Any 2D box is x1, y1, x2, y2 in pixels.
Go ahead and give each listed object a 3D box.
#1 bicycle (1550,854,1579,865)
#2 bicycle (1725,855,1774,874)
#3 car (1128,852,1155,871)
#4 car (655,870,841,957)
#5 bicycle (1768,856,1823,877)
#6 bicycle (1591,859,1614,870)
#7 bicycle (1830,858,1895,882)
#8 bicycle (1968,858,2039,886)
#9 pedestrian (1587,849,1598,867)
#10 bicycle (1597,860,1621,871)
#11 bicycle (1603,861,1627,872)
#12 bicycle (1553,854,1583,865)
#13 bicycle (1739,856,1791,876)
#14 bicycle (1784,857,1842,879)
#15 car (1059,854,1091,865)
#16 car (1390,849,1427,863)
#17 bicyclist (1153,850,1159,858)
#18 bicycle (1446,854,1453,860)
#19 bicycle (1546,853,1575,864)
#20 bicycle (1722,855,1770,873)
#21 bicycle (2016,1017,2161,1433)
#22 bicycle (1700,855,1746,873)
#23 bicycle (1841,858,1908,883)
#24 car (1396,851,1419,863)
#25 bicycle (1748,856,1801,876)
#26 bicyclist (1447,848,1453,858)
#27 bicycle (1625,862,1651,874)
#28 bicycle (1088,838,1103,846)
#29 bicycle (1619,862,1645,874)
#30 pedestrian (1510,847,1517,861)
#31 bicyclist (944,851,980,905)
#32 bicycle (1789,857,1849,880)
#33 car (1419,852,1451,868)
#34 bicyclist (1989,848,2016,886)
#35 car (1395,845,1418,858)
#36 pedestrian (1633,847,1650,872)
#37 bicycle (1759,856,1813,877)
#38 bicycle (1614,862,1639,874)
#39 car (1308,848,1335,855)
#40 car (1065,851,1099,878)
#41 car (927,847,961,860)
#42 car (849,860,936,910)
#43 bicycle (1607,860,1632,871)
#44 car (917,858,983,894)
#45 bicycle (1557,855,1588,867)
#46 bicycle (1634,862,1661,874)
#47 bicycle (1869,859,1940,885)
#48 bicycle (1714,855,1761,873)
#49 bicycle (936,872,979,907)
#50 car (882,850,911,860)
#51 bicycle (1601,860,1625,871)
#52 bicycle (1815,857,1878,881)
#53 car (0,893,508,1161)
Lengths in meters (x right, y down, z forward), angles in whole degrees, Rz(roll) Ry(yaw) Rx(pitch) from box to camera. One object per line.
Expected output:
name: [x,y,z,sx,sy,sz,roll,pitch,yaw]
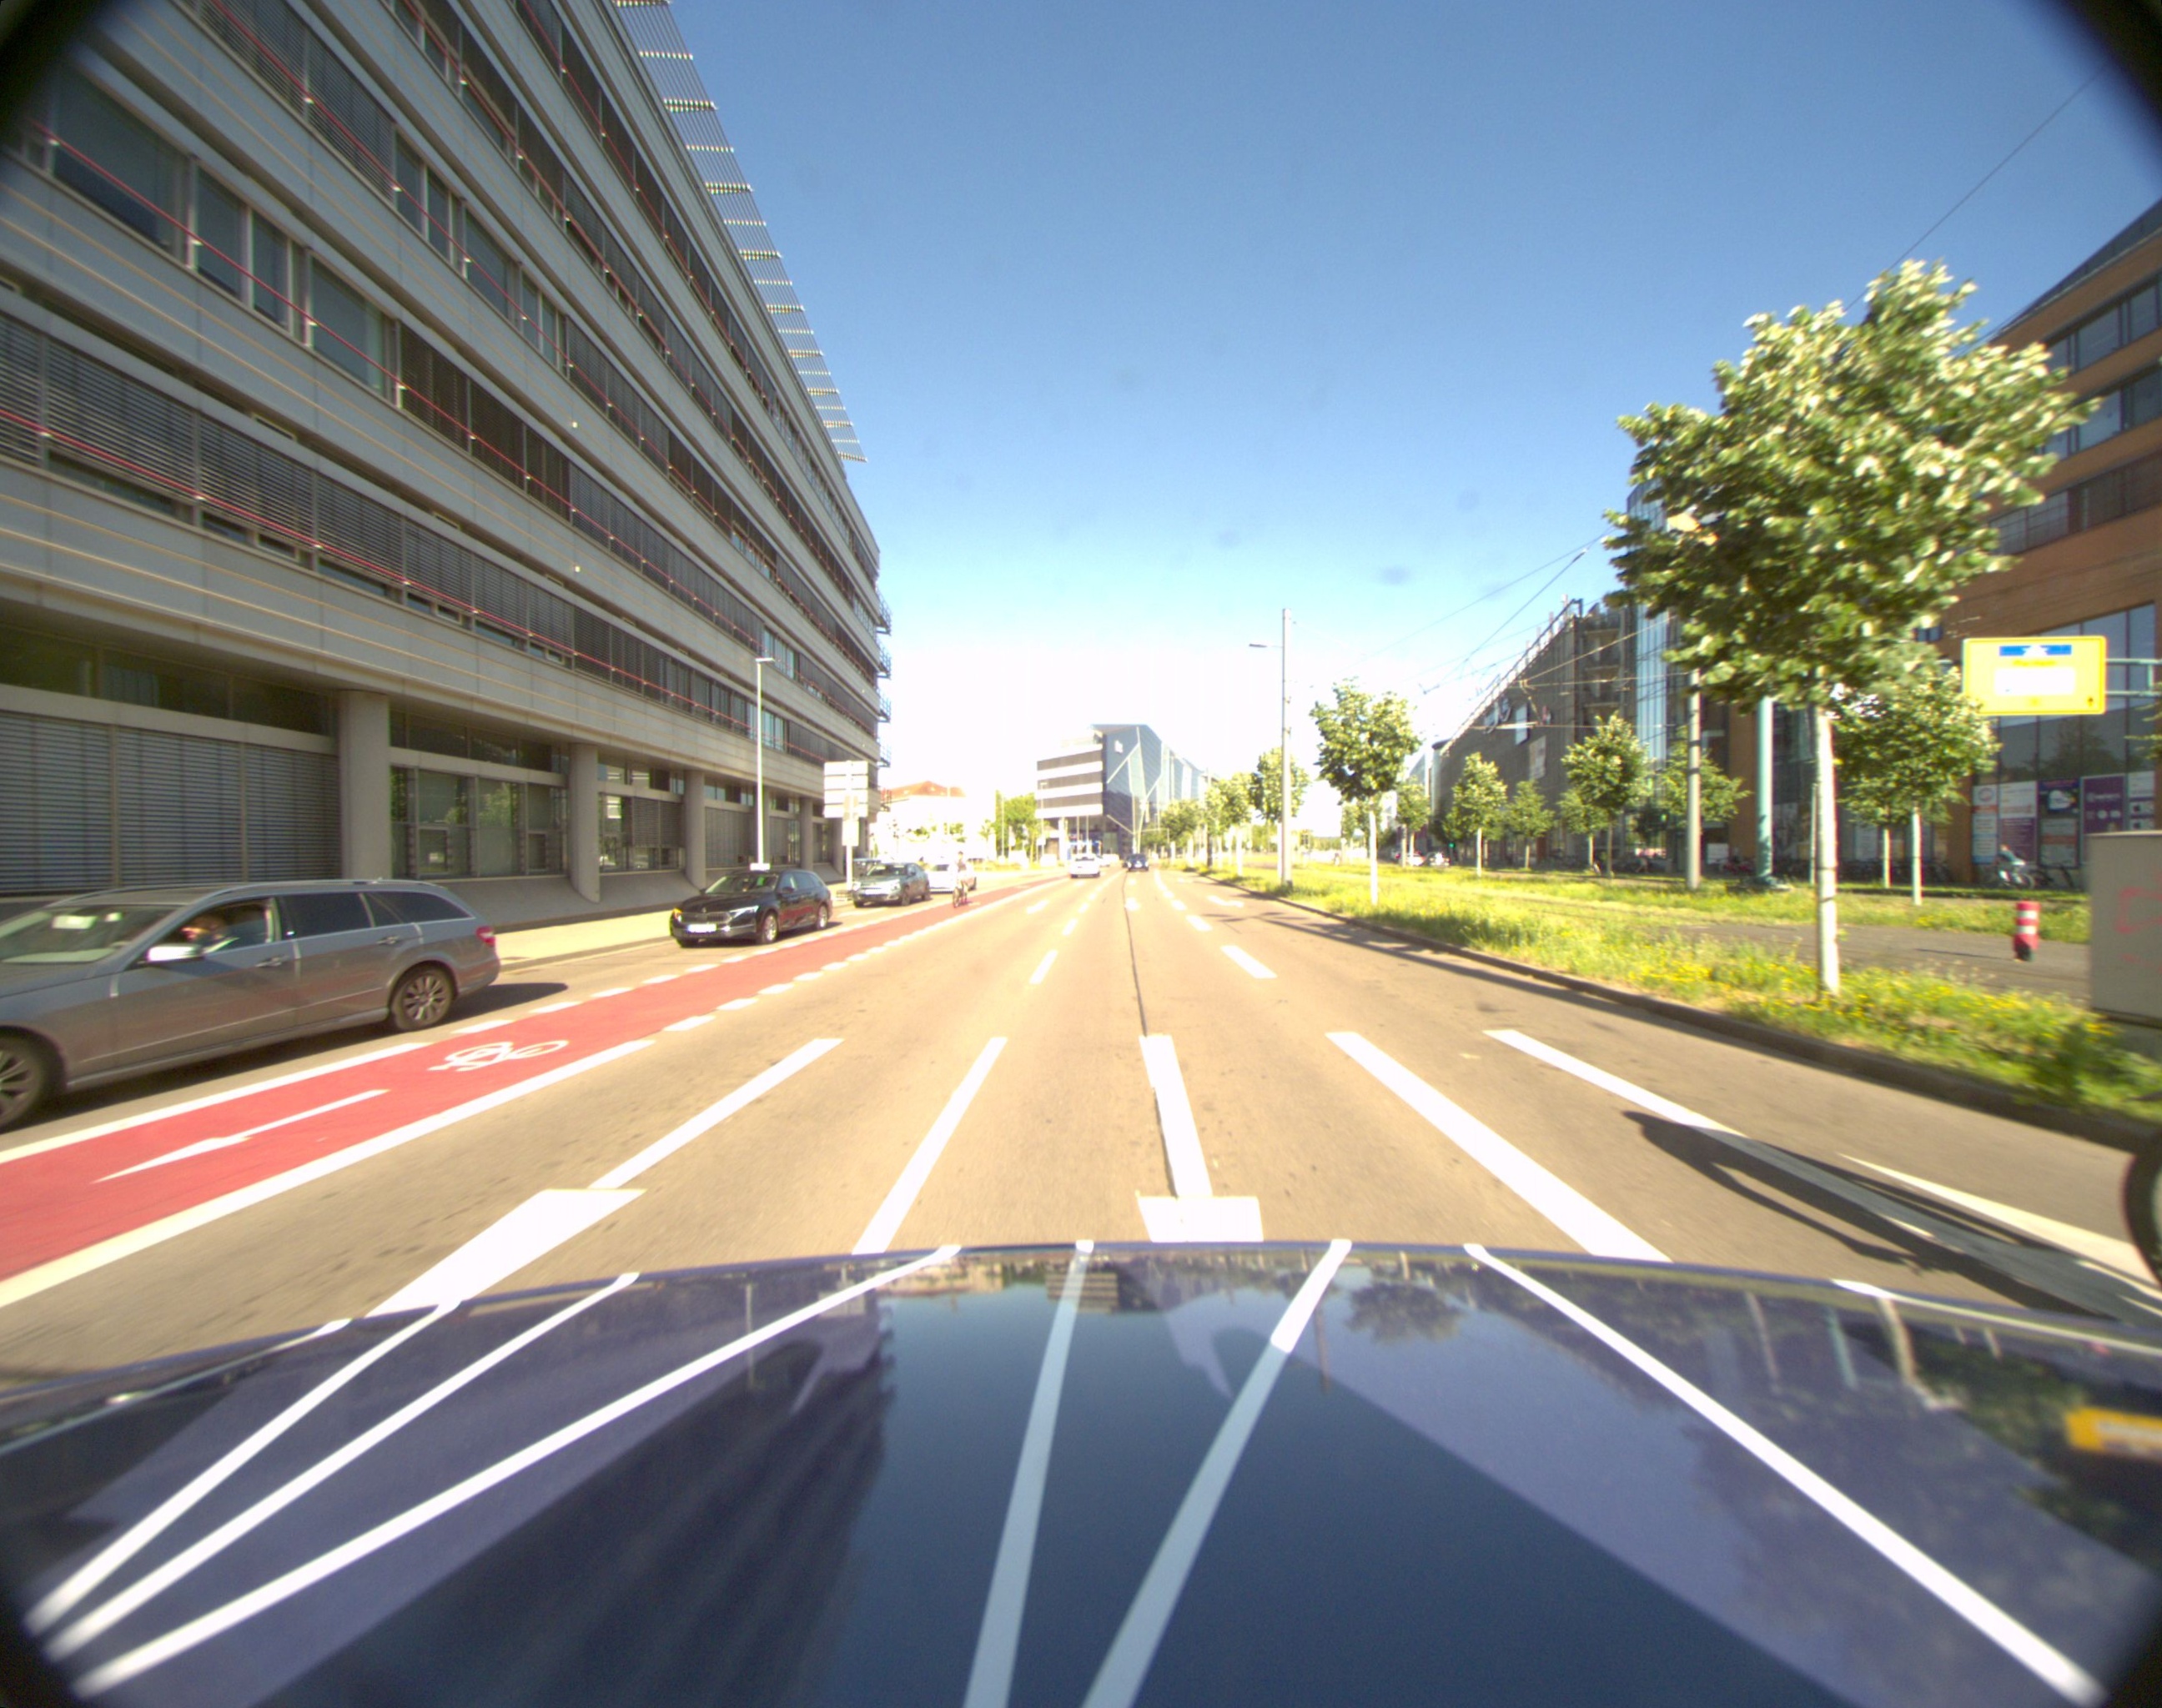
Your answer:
bicycle: [43.163,0.468,67.807,2.176,0.949,0.493,-1,1,12]
bicycle: [41.024,0.659,46.659,2.176,1.117,0.754,-1,1,12]
car: [5.297,0.615,66.188,1.872,1.547,4.003,0,1,12]
car: [-6.742,1.129,16.037,1.725,1.414,4.637,-1,0,2]
bicycle: [39.780,0.704,42.330,2.176,1.117,0.754,-1,1,12]
bicycle: [41.361,0.844,60.299,1.448,0.814,0.446,-1,1,12]
bicycle: [38.477,0.770,37.445,2.176,1.117,0.754,-1,1,12]
bicycle: [34.019,0.642,28.060,0.354,0.921,1.895,0,2,2]
pedestrian: [43.739,0.354,64.942,0.636,1.544,0.662,0,1,24]
bicycle: [41.348,0.870,59.505,1.448,0.814,0.446,-1,1,12]
bicycle: [40.541,0.938,57.713,1.448,0.814,0.446,-1,1,12]
bicycle: [43.094,0.477,67.235,2.176,0.949,0.493,-1,1,12]
bicycle: [40.658,0.690,45.179,2.176,1.117,0.754,-1,1,12]
bicycle: [39.115,0.737,40.626,2.176,1.117,0.754,-1,1,12]
car: [-0.805,0.730,102.776,3.992,1.547,1.877,0,1,16]
car: [32.620,0.213,75.814,1.998,1.326,4.791,0,0,5]
bicyclist: [13.070,0.054,132.461,0.760,1.402,0.773,0,1,30]
bicycle: [55.108,0.446,113.617,0.597,1.004,2.572,0,1,19]
bicycle: [43.212,0.414,68.444,2.176,0.949,0.493,-1,1,12]
bicycle: [41.636,0.621,47.594,2.176,1.117,0.754,-1,1,12]
bicycle: [3.231,1.053,1.037,0.688,1.063,2.697,-2,0,3]
bicycle: [42.003,0.627,49.710,2.176,1.117,0.754,-1,1,12]
bicycle: [38.150,0.783,36.550,2.176,1.117,0.754,-1,1,12]
car: [47.064,0.423,109.678,1.997,1.671,4.541,0,1,8]
bicycle: [40.335,0.700,44.217,2.176,1.117,0.754,-1,1,12]
bicyclist: [55.020,-0.121,113.357,0.592,1.399,1.314,0,1,19]
bicycle: [39.779,1.000,54.245,1.448,0.814,0.446,-1,1,12]
bicycle: [1.772,-1.447,91.416,1.704,0.948,0.698,1,0,17]
bicycle: [39.936,1.016,55.114,1.448,0.814,0.446,-1,1,12]
pedestrian: [45.803,-0.003,80.479,0.490,1.510,0.650,0,1,22]
bicyclist: [-3.872,0.769,24.745,0.808,1.683,1.052,-2,1,9]
bicycle: [38.689,0.750,39.837,2.176,1.117,0.754,-1,1,12]
car: [30.264,0.507,64.999,1.431,1.352,3.296,0,1,5]
bicyclist: [34.015,0.482,28.042,0.341,1.369,0.481,0,2,2]
car: [53.864,-0.399,125.659,2.221,2.002,5.266,0,1,39]
pedestrian: [38.676,0.367,52.458,0.597,1.675,0.778,0,1,4]
bicycle: [40.056,0.707,43.213,2.176,1.117,0.754,-1,1,12]
bicycle: [39.959,1.011,55.655,1.448,0.814,0.446,-1,1,12]
car: [38.016,-0.335,119.964,3.991,1.084,2.003,0,1,20]
car: [0.090,0.694,52.164,1.872,1.621,4.338,-1,2,6]
car: [-20.146,-0.070,112.023,4.643,1.970,1.878,0,1,22]
car: [-6.523,1.025,26.775,1.725,1.515,4.399,-1,0,3]
bicycle: [40.307,0.872,56.905,1.448,0.814,0.446,-1,1,12]
car: [-5.807,0.952,34.158,1.776,1.395,4.295,-3,0,6]
bicycle: [42.872,0.617,66.275,2.176,0.949,0.493,-1,1,12]
bicycle: [39.738,1.006,53.285,1.448,0.814,0.446,-1,1,12]
bicycle: [37.675,0.816,34.790,2.176,1.117,0.754,-1,1,12]
bicycle: [41.984,0.622,48.618,2.176,1.117,0.754,-1,1,12]
bicycle: [-3.985,1.136,24.679,0.827,1.031,1.892,-2,0,9]
car: [-28.869,0.174,118.958,3.990,1.547,1.878,0,1,23]
bicycle: [41.257,0.888,58.975,1.448,0.814,0.446,-1,1,12]
bicycle: [38.693,0.760,38.443,2.176,1.117,0.754,-1,1,12]
car: [-7.296,1.152,5.995,1.725,1.388,4.788,-1,0,3]
